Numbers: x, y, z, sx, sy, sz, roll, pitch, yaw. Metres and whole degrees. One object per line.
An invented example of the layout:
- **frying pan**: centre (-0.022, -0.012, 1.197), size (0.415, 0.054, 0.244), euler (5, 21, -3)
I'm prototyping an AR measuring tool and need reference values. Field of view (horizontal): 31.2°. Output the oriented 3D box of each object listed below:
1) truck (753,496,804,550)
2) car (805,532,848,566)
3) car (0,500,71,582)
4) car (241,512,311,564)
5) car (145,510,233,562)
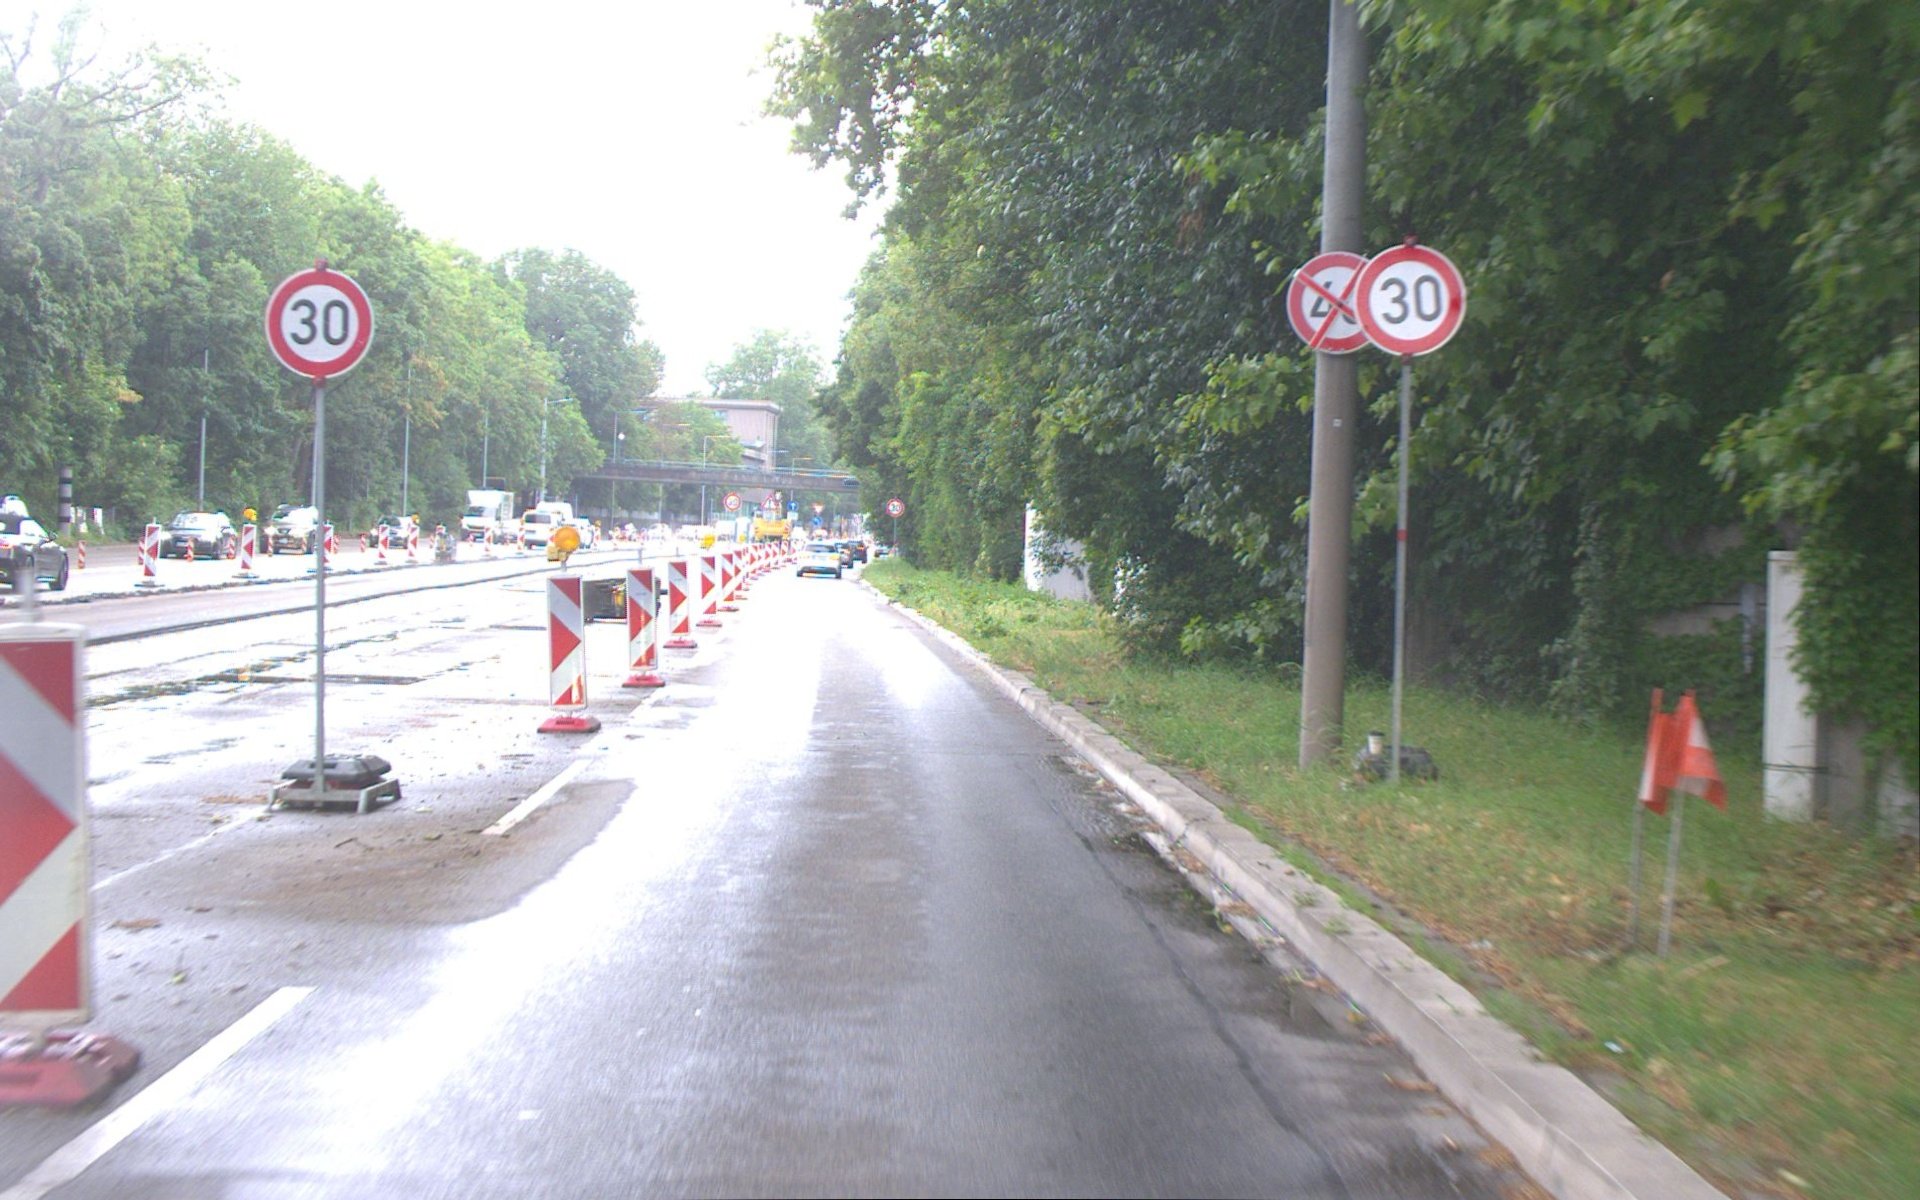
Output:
- **truck**: centre (-12.563, -5.356, 238.484), size (3.259, 3.485, 13.872), euler (2, 1, -2)
- **car**: centre (-5.319, -2.046, 137.354), size (1.697, 1.331, 3.491), euler (0, 1, -2)
- **car**: centre (-17.359, -1.091, 62.253), size (1.607, 1.399, 4.041), euler (2, 1, -2)
- **car**: centre (-24.053, -2.178, 120.985), size (1.734, 1.716, 4.494), euler (2, 1, -3)
- **car**: centre (-23.156, -1.929, 103.392), size (1.760, 1.478, 4.901), euler (2, 1, -3)
